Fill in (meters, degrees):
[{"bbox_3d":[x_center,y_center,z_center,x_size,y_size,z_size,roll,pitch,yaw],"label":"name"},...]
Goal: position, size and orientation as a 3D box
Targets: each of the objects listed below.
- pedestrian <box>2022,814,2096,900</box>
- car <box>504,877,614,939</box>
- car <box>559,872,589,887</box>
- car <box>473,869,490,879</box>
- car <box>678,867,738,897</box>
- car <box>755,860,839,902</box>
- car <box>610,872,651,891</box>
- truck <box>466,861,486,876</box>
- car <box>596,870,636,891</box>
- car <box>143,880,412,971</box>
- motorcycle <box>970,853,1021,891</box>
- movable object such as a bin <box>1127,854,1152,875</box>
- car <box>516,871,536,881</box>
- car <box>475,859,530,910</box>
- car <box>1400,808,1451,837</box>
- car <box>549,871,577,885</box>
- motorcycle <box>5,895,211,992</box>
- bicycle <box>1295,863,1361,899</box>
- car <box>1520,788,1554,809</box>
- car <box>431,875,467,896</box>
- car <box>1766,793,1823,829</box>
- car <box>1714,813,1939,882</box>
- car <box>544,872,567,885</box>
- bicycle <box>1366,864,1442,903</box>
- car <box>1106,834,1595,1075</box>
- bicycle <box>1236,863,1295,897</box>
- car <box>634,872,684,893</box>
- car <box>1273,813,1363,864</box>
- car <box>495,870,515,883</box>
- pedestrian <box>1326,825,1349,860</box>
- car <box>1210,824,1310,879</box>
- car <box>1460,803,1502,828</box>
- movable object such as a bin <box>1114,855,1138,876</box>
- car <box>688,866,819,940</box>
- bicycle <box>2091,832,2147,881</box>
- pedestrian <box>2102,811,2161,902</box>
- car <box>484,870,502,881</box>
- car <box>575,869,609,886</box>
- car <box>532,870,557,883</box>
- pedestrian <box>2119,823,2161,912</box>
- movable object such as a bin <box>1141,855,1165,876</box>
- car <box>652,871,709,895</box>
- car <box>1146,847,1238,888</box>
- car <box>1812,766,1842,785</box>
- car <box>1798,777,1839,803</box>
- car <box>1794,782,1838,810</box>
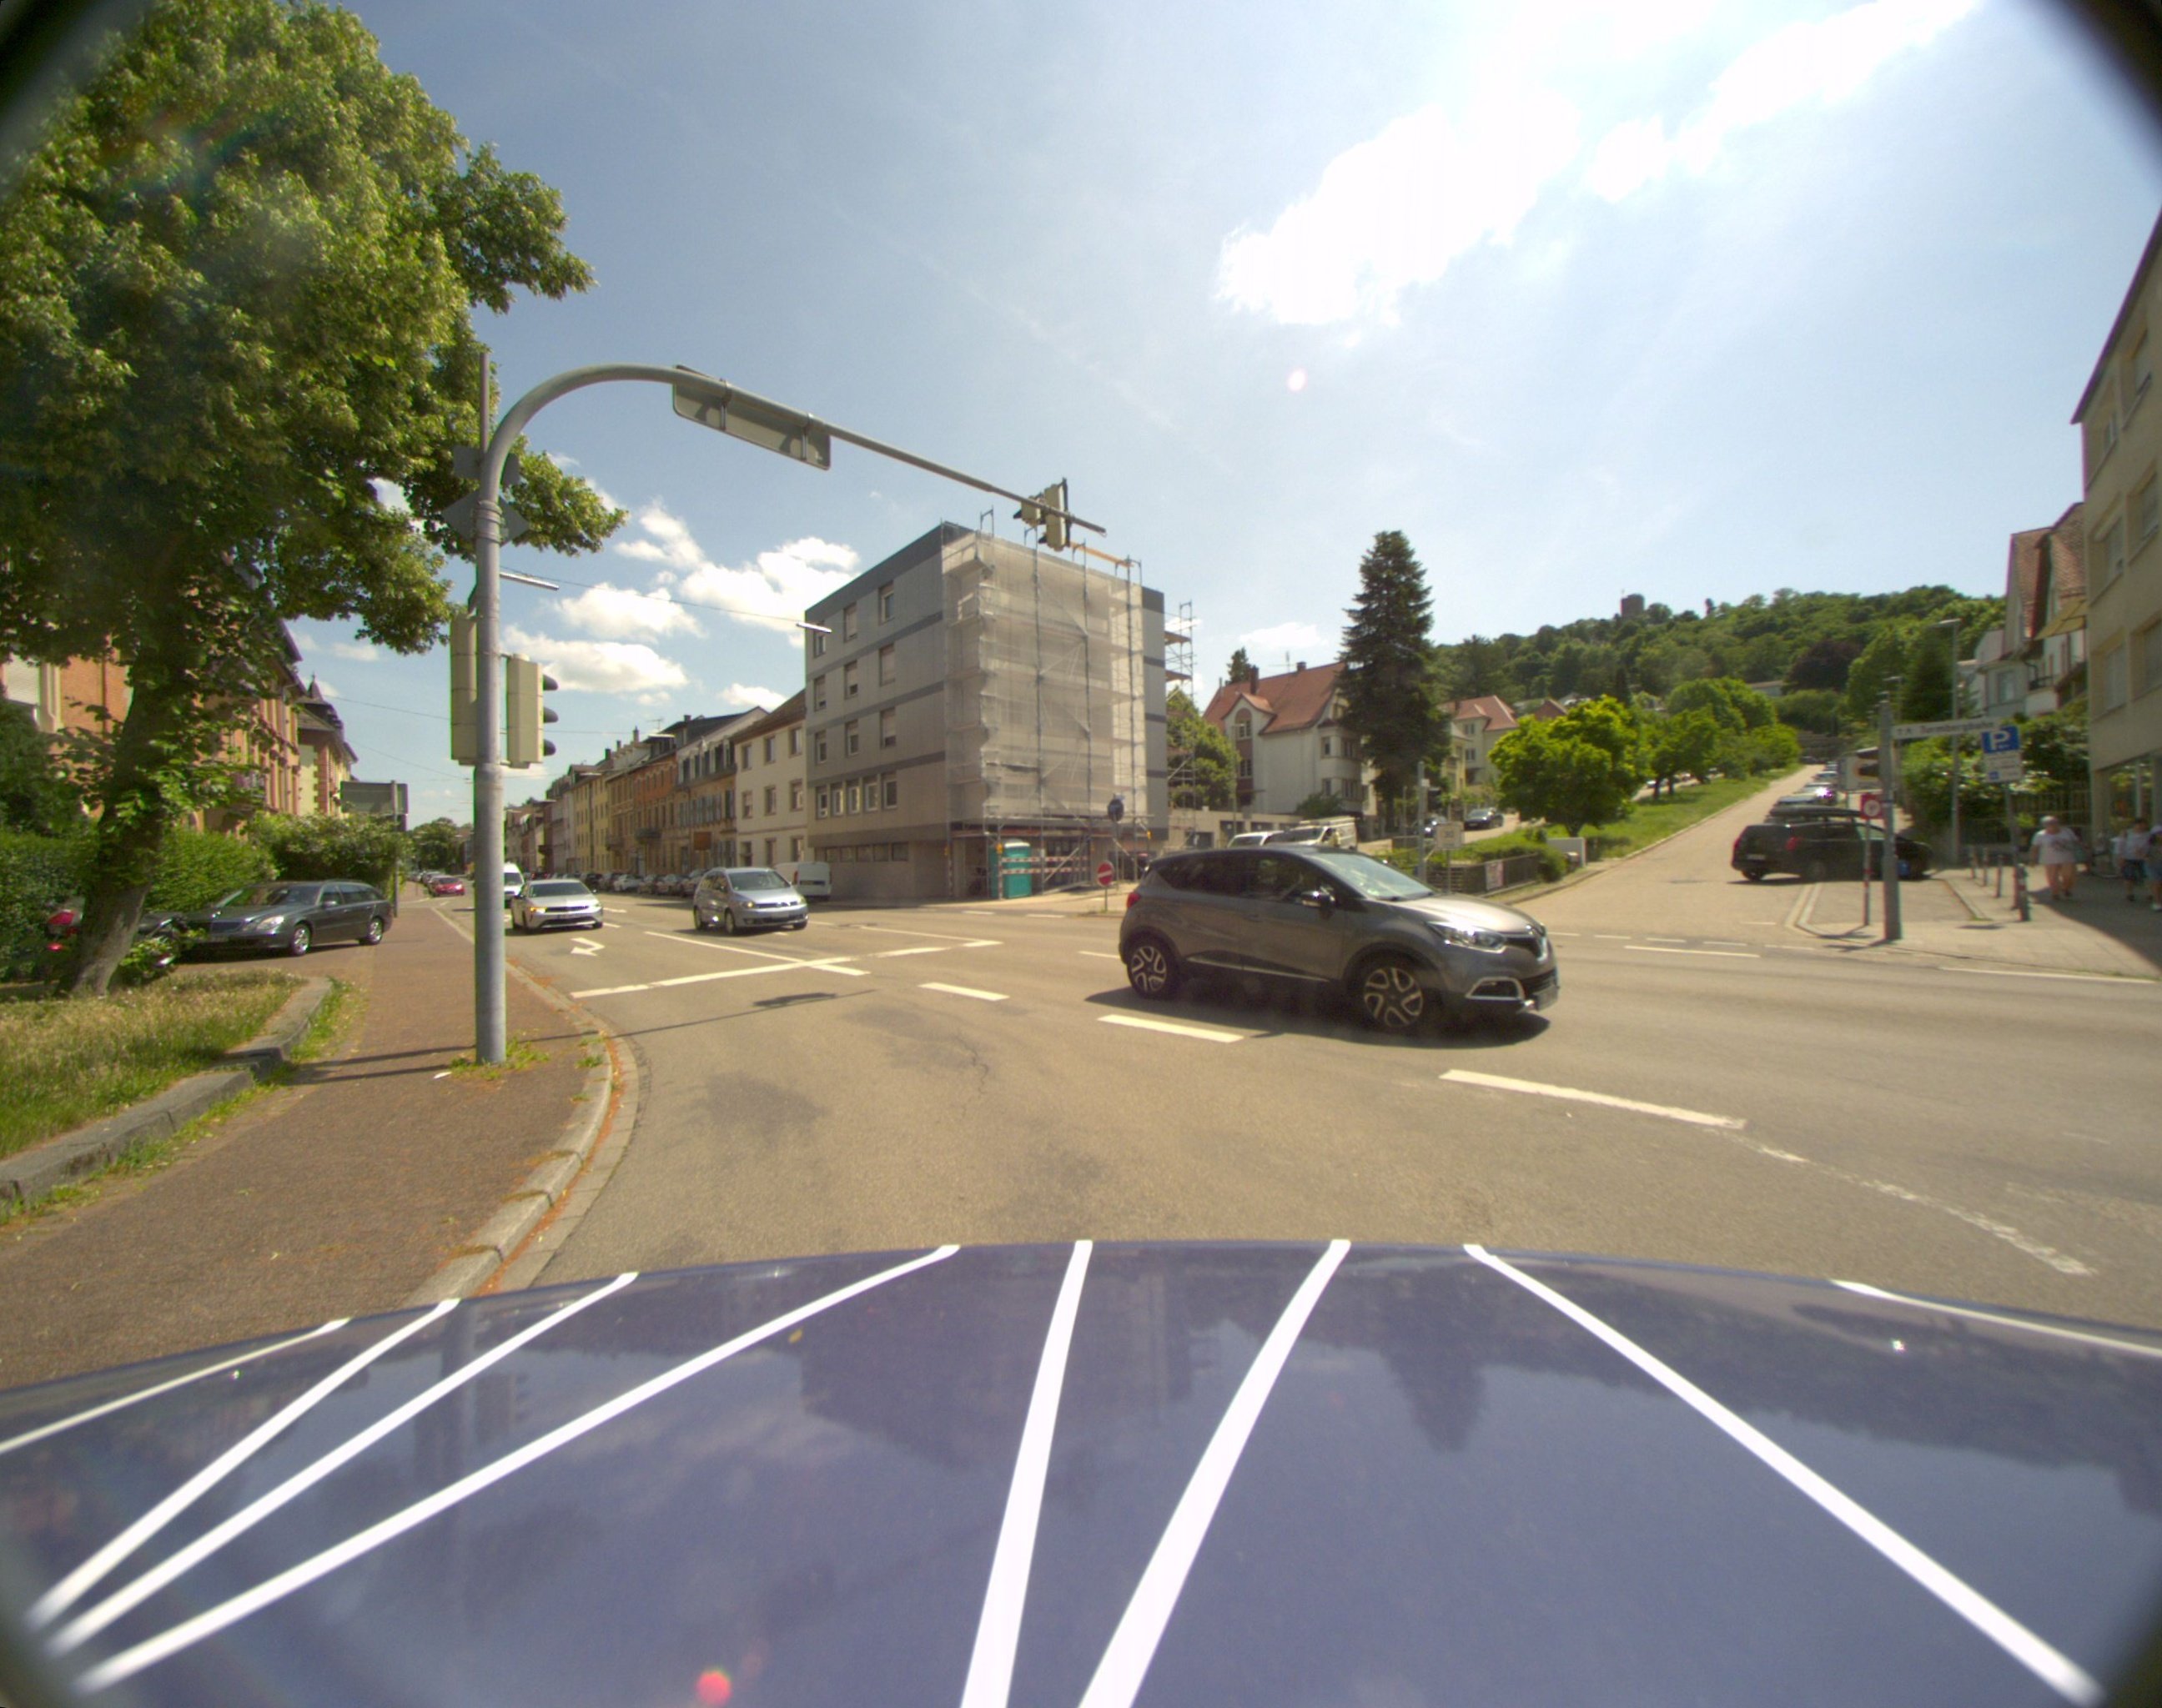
[{"bbox_3d":[18.970,0.054,14.764,0.805,1.623,0.820,-3,1,-41],"label":"pedestrian"},{"bbox_3d":[-15.077,1.465,21.857,1.910,1.489,4.474,-2,1,-43],"label":"car"},{"bbox_3d":[-52.393,2.590,78.497,1.915,1.442,4.673,3,-3,-42],"label":"car"},{"bbox_3d":[-96.057,3.244,121.687,1.769,1.485,4.234,-1,0,-43],"label":"car"},{"bbox_3d":[-21.525,1.585,43.721,1.895,1.631,4.804,0,-1,-41],"label":"car"},{"bbox_3d":[-13.071,1.192,34.826,1.924,1.815,4.775,0,-1,-43],"label":"car"},{"bbox_3d":[-35.273,2.165,59.410,1.875,1.417,4.319,3,-3,-42],"label":"car"},{"bbox_3d":[-115.481,2.736,145.017,2.330,2.724,8.046,-1,0,-43],"label":"truck"},{"bbox_3d":[-38.697,2.205,63.193,1.875,1.617,4.488,3,-3,-43],"label":"car"},{"bbox_3d":[-16.349,1.336,15.920,1.842,1.539,5.148,-1,-1,-21],"label":"car"},{"bbox_3d":[-3.580,0.742,31.875,2.042,1.463,0.881,-2,1,-4],"label":"motorcycle"},{"bbox_3d":[2.656,0.482,34.601,0.742,0.921,0.824,-3,1,-41],"label":"movable object such as a bin"},{"bbox_3d":[-80.159,3.147,109.712,1.754,1.402,4.093,3,-3,-45],"label":"car"},{"bbox_3d":[-28.704,1.436,37.627,1.910,2.261,5.657,-2,1,-39],"label":"car"},{"bbox_3d":[21.493,-1.970,47.345,1.753,1.439,3.745,-2,4,42],"label":"car"},{"bbox_3d":[-56.879,2.637,83.420,1.875,1.542,4.301,3,-3,-42],"label":"car"},{"bbox_3d":[-15.220,1.339,12.013,0.934,1.294,2.277,-1,-1,-20],"label":"motorcycle"},{"bbox_3d":[6.883,0.758,21.251,1.741,0.961,0.399,-2,1,44],"label":"bicycle"},{"bbox_3d":[38.186,-4.648,63.568,1.753,1.439,3.745,-2,4,42],"label":"car"},{"bbox_3d":[-49.529,2.444,59.514,1.766,1.470,3.773,-5,2,-45],"label":"car"},{"bbox_3d":[33.600,-2.057,35.755,1.804,1.380,4.006,-1,4,45],"label":"car"},{"bbox_3d":[20.188,-0.172,20.703,4.328,1.654,1.999,-2,0,-4],"label":"car"},{"bbox_3d":[-60.172,2.754,87.025,1.754,1.402,3.904,3,-3,-41],"label":"car"},{"bbox_3d":[8.366,0.749,19.747,1.778,0.961,0.399,-2,1,44],"label":"bicycle"},{"bbox_3d":[2.304,0.719,7.256,1.763,1.622,3.989,-3,1,-43],"label":"car"},{"bbox_3d":[5.464,0.758,22.572,1.714,0.961,0.399,-2,1,44],"label":"bicycle"},{"bbox_3d":[-29.562,1.992,53.180,4.318,1.397,1.875,-1,-3,45],"label":"car"},{"bbox_3d":[12.222,-0.822,39.016,5.019,2.165,2.069,-7,4,-43],"label":"car"},{"bbox_3d":[-73.525,2.875,96.978,1.710,1.565,4.300,-1,0,-41],"label":"car"},{"bbox_3d":[12.710,-0.563,37.639,0.713,1.704,0.741,-3,1,-40],"label":"pedestrian"},{"bbox_3d":[8.062,-0.170,33.848,1.994,2.003,5.020,-2,3,43],"label":"car"},{"bbox_3d":[28.627,-2.783,54.332,1.753,1.439,3.745,-2,4,42],"label":"car"},{"bbox_3d":[2.088,0.523,35.420,0.742,0.921,0.824,-3,1,-41],"label":"movable object such as a bin"},{"bbox_3d":[-8.173,1.124,18.785,1.763,1.559,3.989,-3,1,-41],"label":"car"},{"bbox_3d":[22.853,0.039,16.747,1.746,1.021,0.497,-3,1,-43],"label":"bicycle"},{"bbox_3d":[19.247,0.044,13.884,0.689,1.623,0.646,-3,1,-41],"label":"pedestrian"},{"bbox_3d":[-81.184,2.923,104.907,1.710,1.469,4.122,-1,0,-41],"label":"car"},{"bbox_3d":[-46.391,2.259,72.037,1.875,1.542,4.488,3,-3,-43],"label":"car"},{"bbox_3d":[-64.784,2.740,91.771,1.753,1.578,3.945,2,-2,-26],"label":"car"},{"bbox_3d":[18.014,0.221,12.747,0.689,1.467,0.646,-3,1,-41],"label":"pedestrian"},{"bbox_3d":[3.231,0.506,33.970,0.742,0.921,0.702,-3,1,-41],"label":"movable object such as a bin"},{"bbox_3d":[-25.873,1.859,49.001,1.875,1.397,4.824,3,-3,-44],"label":"car"},{"bbox_3d":[4.545,0.521,30.726,1.753,1.439,3.746,-2,1,45],"label":"car"},{"bbox_3d":[67.805,-7.138,69.052,1.854,1.413,4.006,-1,4,45],"label":"car"},{"bbox_3d":[48.794,-4.263,50.253,1.854,1.413,4.006,-1,4,45],"label":"car"},{"bbox_3d":[44.618,-3.551,46.081,1.854,1.413,4.006,-1,4,45],"label":"car"}]
